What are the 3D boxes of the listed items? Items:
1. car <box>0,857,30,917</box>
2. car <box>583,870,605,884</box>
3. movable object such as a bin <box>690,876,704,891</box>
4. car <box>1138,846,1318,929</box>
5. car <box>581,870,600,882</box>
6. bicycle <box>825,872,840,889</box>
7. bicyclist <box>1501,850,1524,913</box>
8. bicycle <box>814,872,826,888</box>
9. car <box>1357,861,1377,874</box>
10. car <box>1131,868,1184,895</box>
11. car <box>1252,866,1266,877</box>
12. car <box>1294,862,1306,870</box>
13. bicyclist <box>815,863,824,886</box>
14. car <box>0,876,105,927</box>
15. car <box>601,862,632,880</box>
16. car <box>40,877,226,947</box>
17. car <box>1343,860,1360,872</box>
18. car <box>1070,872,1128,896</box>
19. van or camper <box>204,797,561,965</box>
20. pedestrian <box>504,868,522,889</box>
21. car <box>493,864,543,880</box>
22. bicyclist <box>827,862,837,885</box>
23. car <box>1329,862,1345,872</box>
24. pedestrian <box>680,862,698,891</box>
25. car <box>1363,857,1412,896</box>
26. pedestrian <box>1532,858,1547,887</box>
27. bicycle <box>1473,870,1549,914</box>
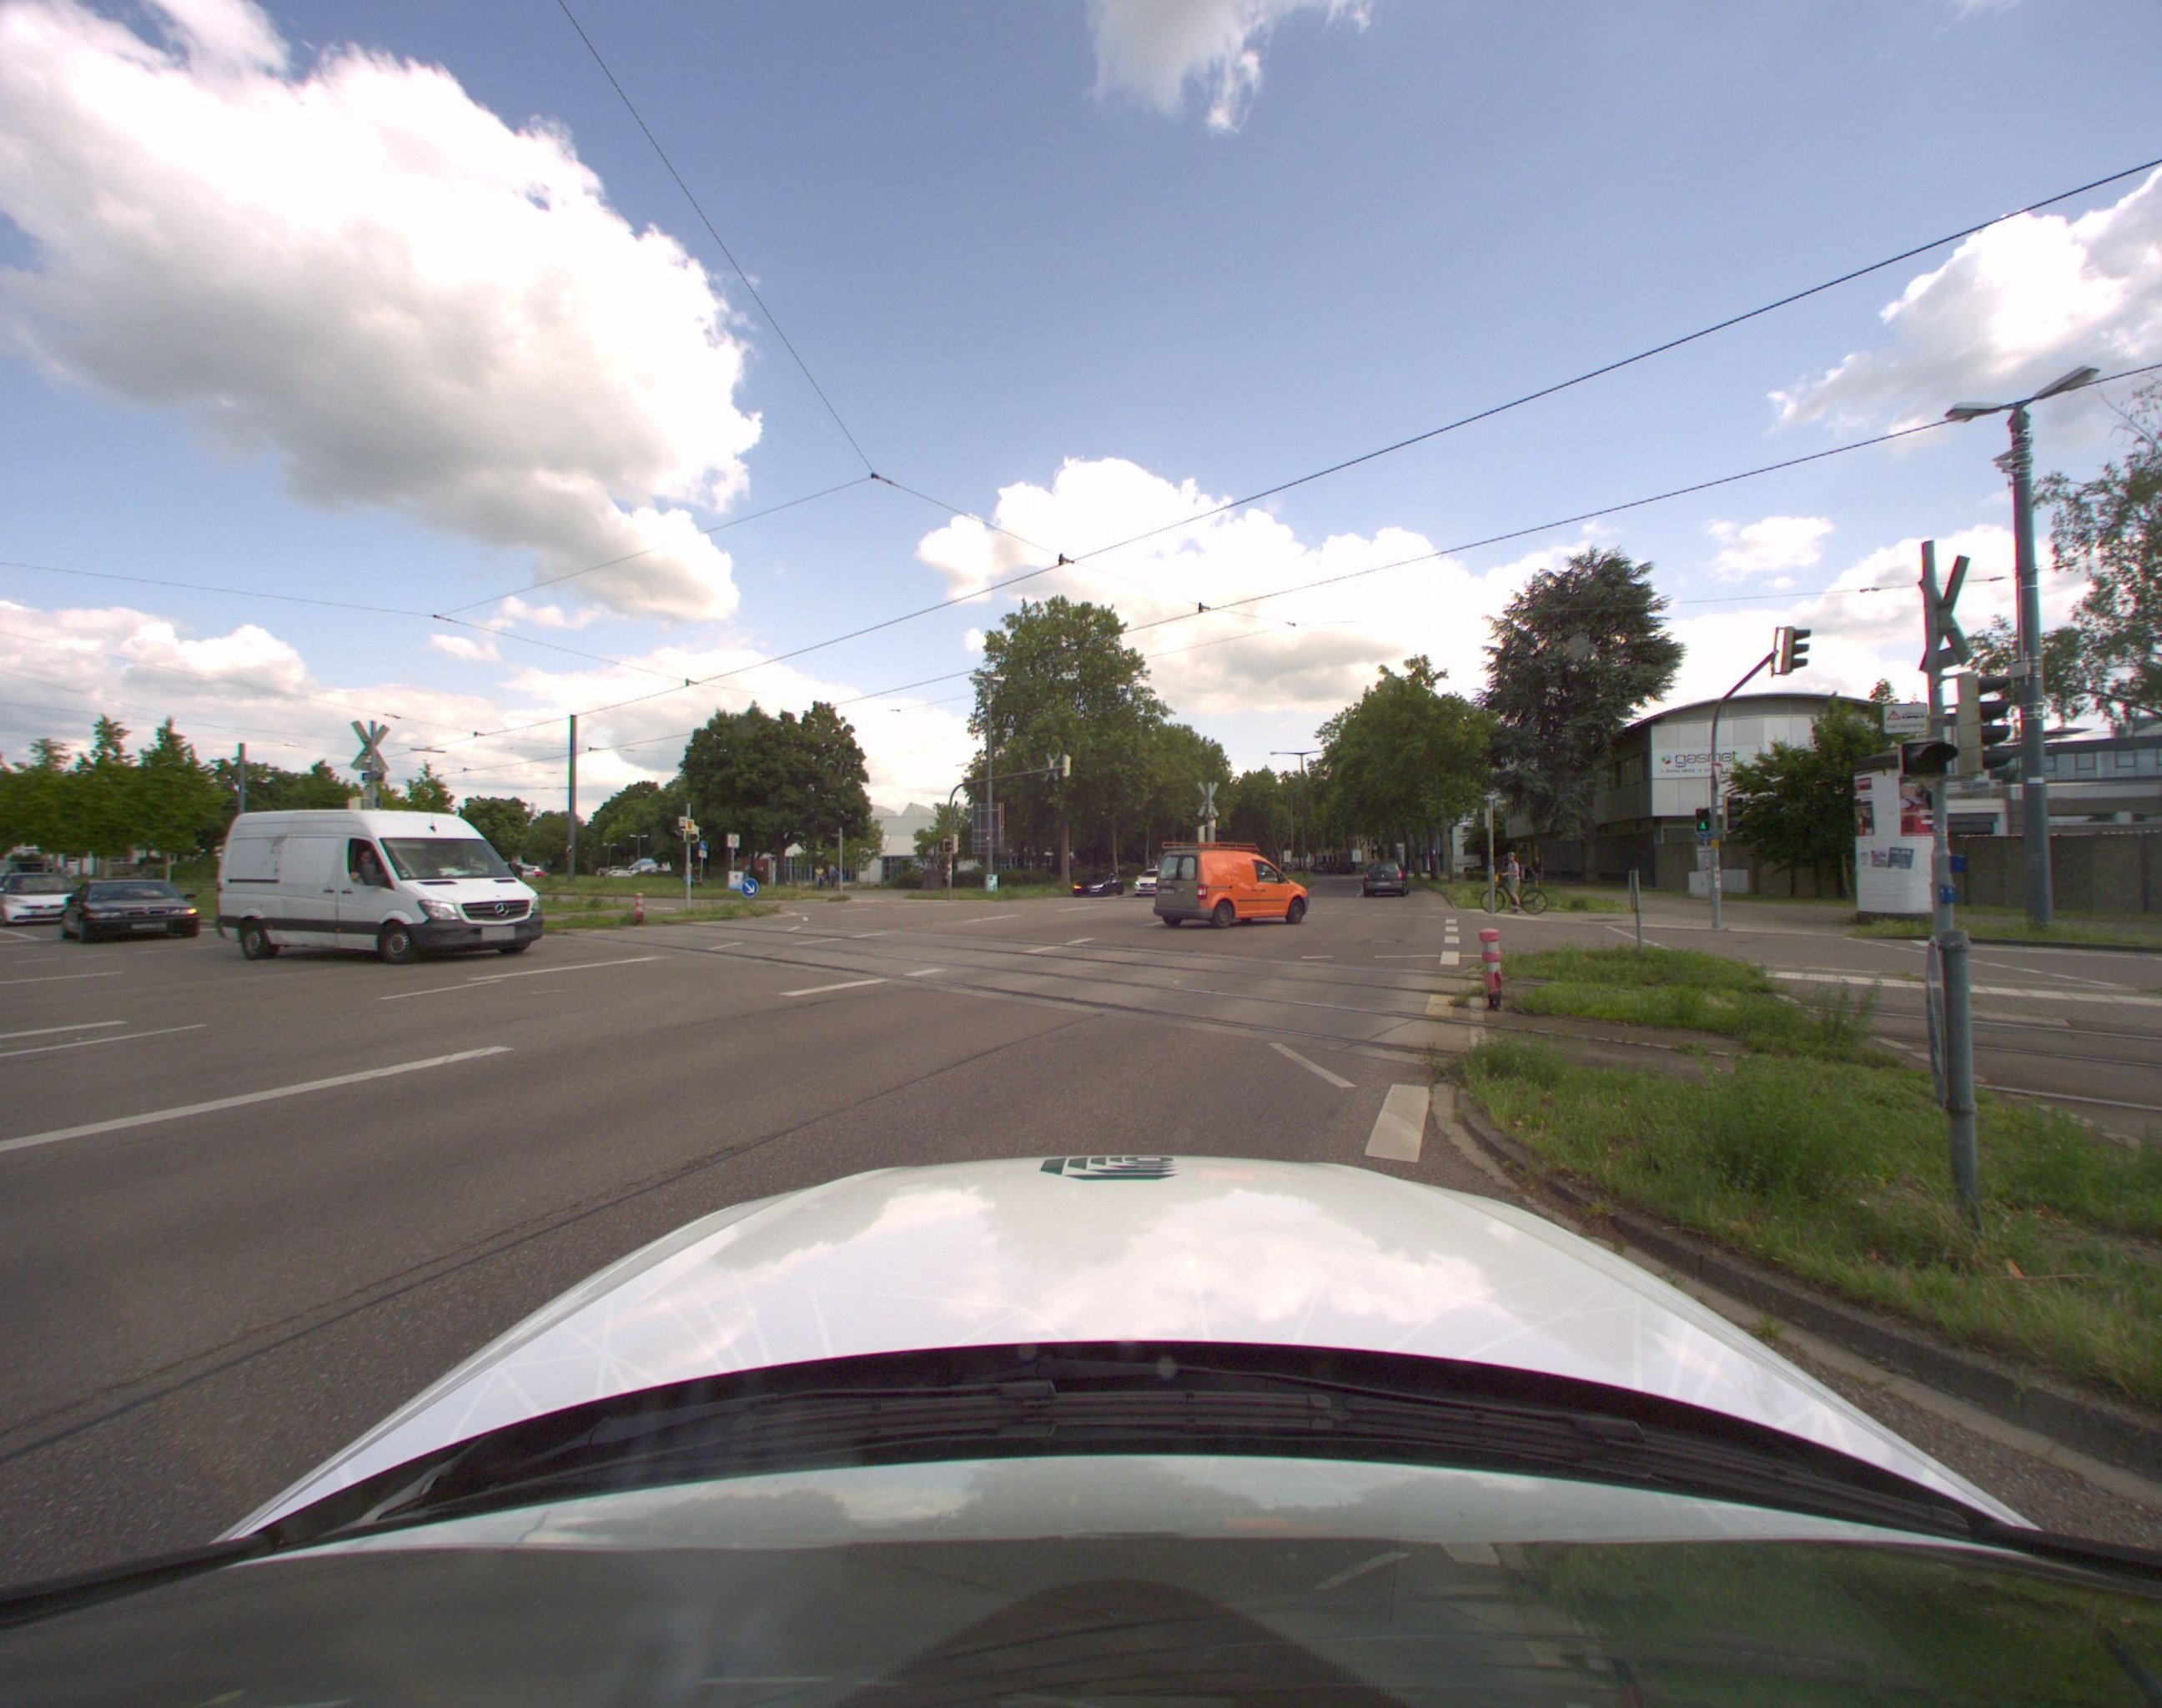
[{"bbox_3d":[-40.765,1.190,29.969,4.327,2.155,1.867,-1,-1,29],"label":"car"},{"bbox_3d":[-60.602,2.809,101.325,2.009,1.640,4.342,0,-1,-36],"label":"car"},{"bbox_3d":[-22.190,1.722,47.062,0.455,0.811,0.581,-1,1,13],"label":"movable object such as a bin"},{"bbox_3d":[3.652,0.748,19.820,4.391,1.800,1.863,0,-1,-38],"label":"car"},{"bbox_3d":[-71.579,3.144,118.743,2.009,1.640,4.342,0,-1,-36],"label":"car"},{"bbox_3d":[-16.528,1.758,54.216,0.565,1.130,1.365,2,-2,-34],"label":"bicycle"},{"bbox_3d":[12.668,0.799,23.925,0.538,1.809,0.544,-1,1,31],"label":"bicyclist"},{"bbox_3d":[-18.174,1.797,56.640,0.564,1.130,1.367,0,-1,-29],"label":"bicycle"},{"bbox_3d":[38.768,1.857,110.526,1.981,1.574,4.012,-1,1,11],"label":"car"},{"bbox_3d":[4.136,1.439,43.619,1.810,1.364,4.158,-1,-1,20],"label":"car"},{"bbox_3d":[22.866,2.223,104.876,1.646,1.271,3.783,-1,1,11],"label":"car"},{"bbox_3d":[45.953,2.462,170.867,1.981,1.574,4.012,-1,1,11],"label":"car"},{"bbox_3d":[-18.185,1.425,56.666,0.488,1.554,0.551,2,-2,-30],"label":"bicyclist"},{"bbox_3d":[-32.170,1.409,25.140,4.327,1.431,1.822,-1,-1,29],"label":"car"},{"bbox_3d":[-42.955,1.558,75.330,2.009,1.640,4.342,0,-1,-36],"label":"car"},{"bbox_3d":[-22.074,1.299,18.946,4.412,1.431,1.822,-2,-1,27],"label":"car"},{"bbox_3d":[40.625,1.836,122.449,1.981,1.574,4.012,-1,1,11],"label":"car"},{"bbox_3d":[1.024,1.606,44.142,1.619,1.192,3.731,-1,-1,29],"label":"car"},{"bbox_3d":[-12.178,0.453,14.188,5.966,2.525,1.992,-1,-1,20],"label":"van or camper"},{"bbox_3d":[-37.317,1.595,53.523,0.743,1.354,0.655,-1,1,28],"label":"pedestrian"},{"bbox_3d":[-55.323,1.758,80.052,4.017,1.530,1.978,0,-1,-36],"label":"car"},{"bbox_3d":[-16.572,1.314,54.289,0.489,1.554,0.550,2,-3,-34],"label":"bicyclist"},{"bbox_3d":[41.073,2.074,130.924,1.981,1.574,4.012,-1,1,11],"label":"car"},{"bbox_3d":[-22.714,1.310,47.185,0.631,1.644,0.615,-1,1,14],"label":"pedestrian"},{"bbox_3d":[13.807,1.009,36.599,1.714,1.630,4.075,-3,-2,25],"label":"car"},{"bbox_3d":[24.975,1.014,44.363,0.615,1.569,0.562,-1,1,22],"label":"pedestrian"},{"bbox_3d":[12.640,1.086,23.950,1.927,1.235,0.544,-1,1,31],"label":"bicycle"}]
